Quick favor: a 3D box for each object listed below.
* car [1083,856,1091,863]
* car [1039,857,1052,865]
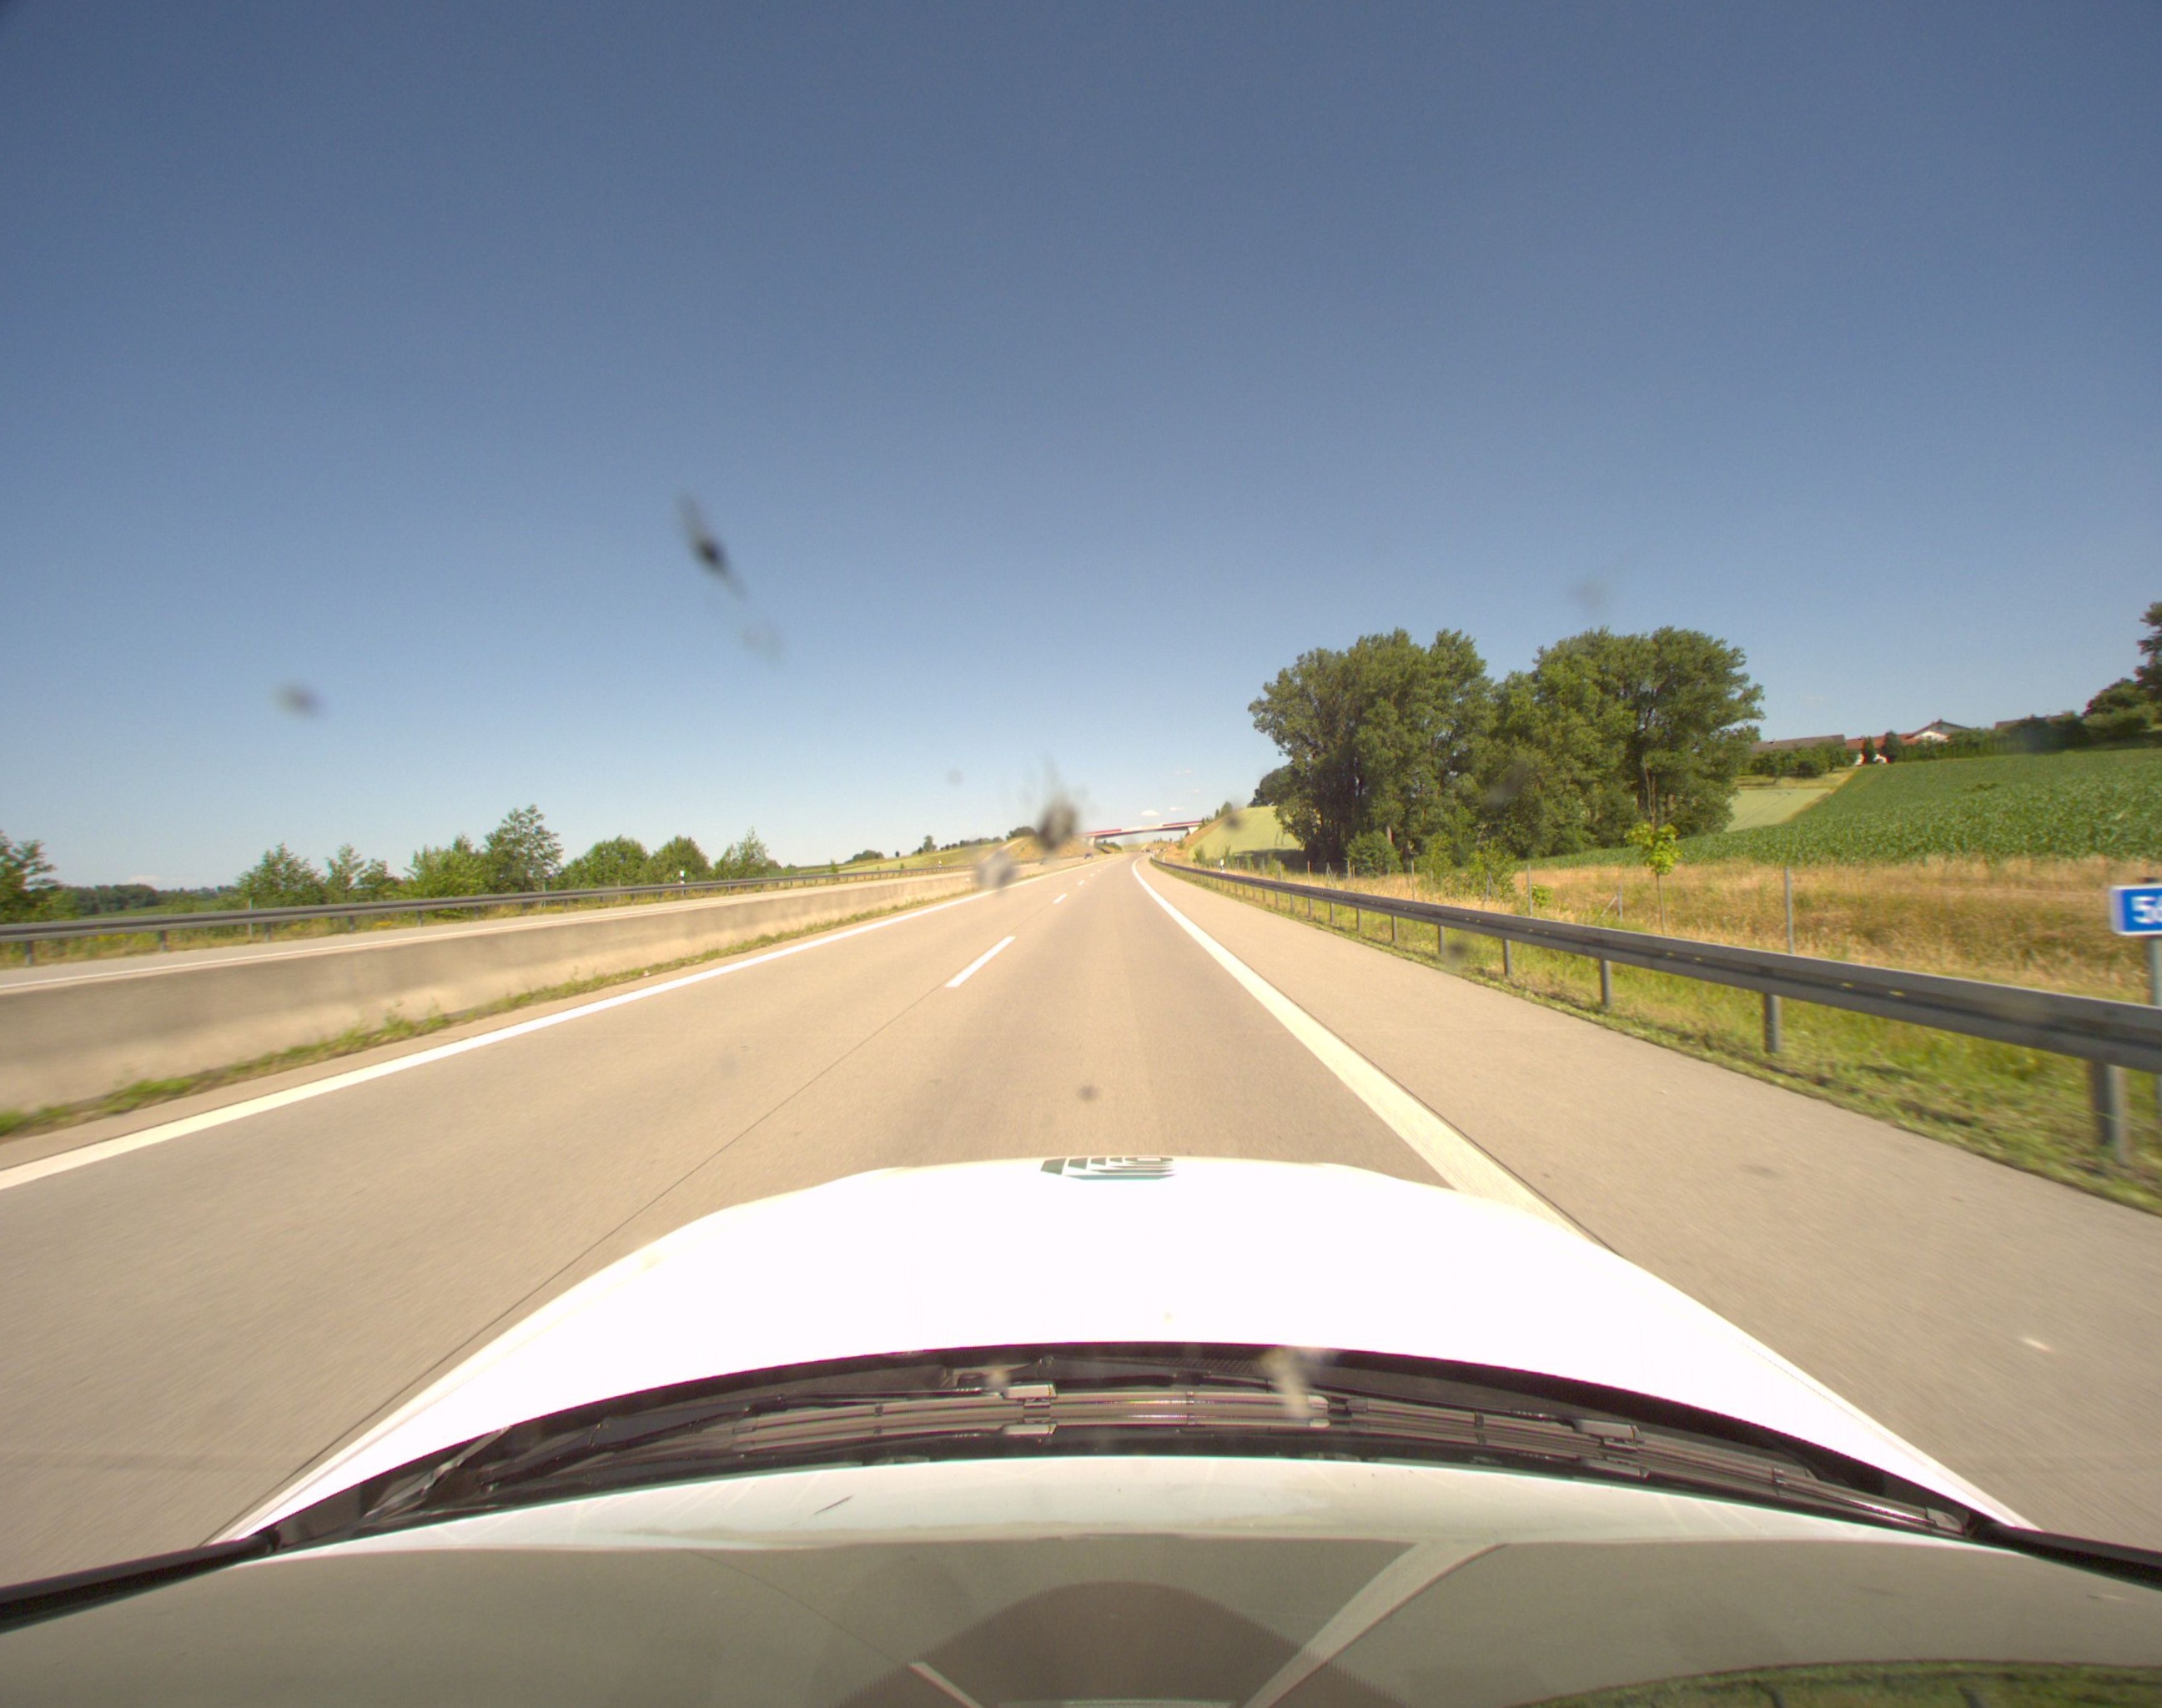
[{"bbox_3d":[1.502,1.373,203.588,1.804,1.615,4.682,0,-1,5],"label":"car"},{"bbox_3d":[-6.043,1.210,140.730,1.805,1.456,4.515,0,-1,3],"label":"car"}]
